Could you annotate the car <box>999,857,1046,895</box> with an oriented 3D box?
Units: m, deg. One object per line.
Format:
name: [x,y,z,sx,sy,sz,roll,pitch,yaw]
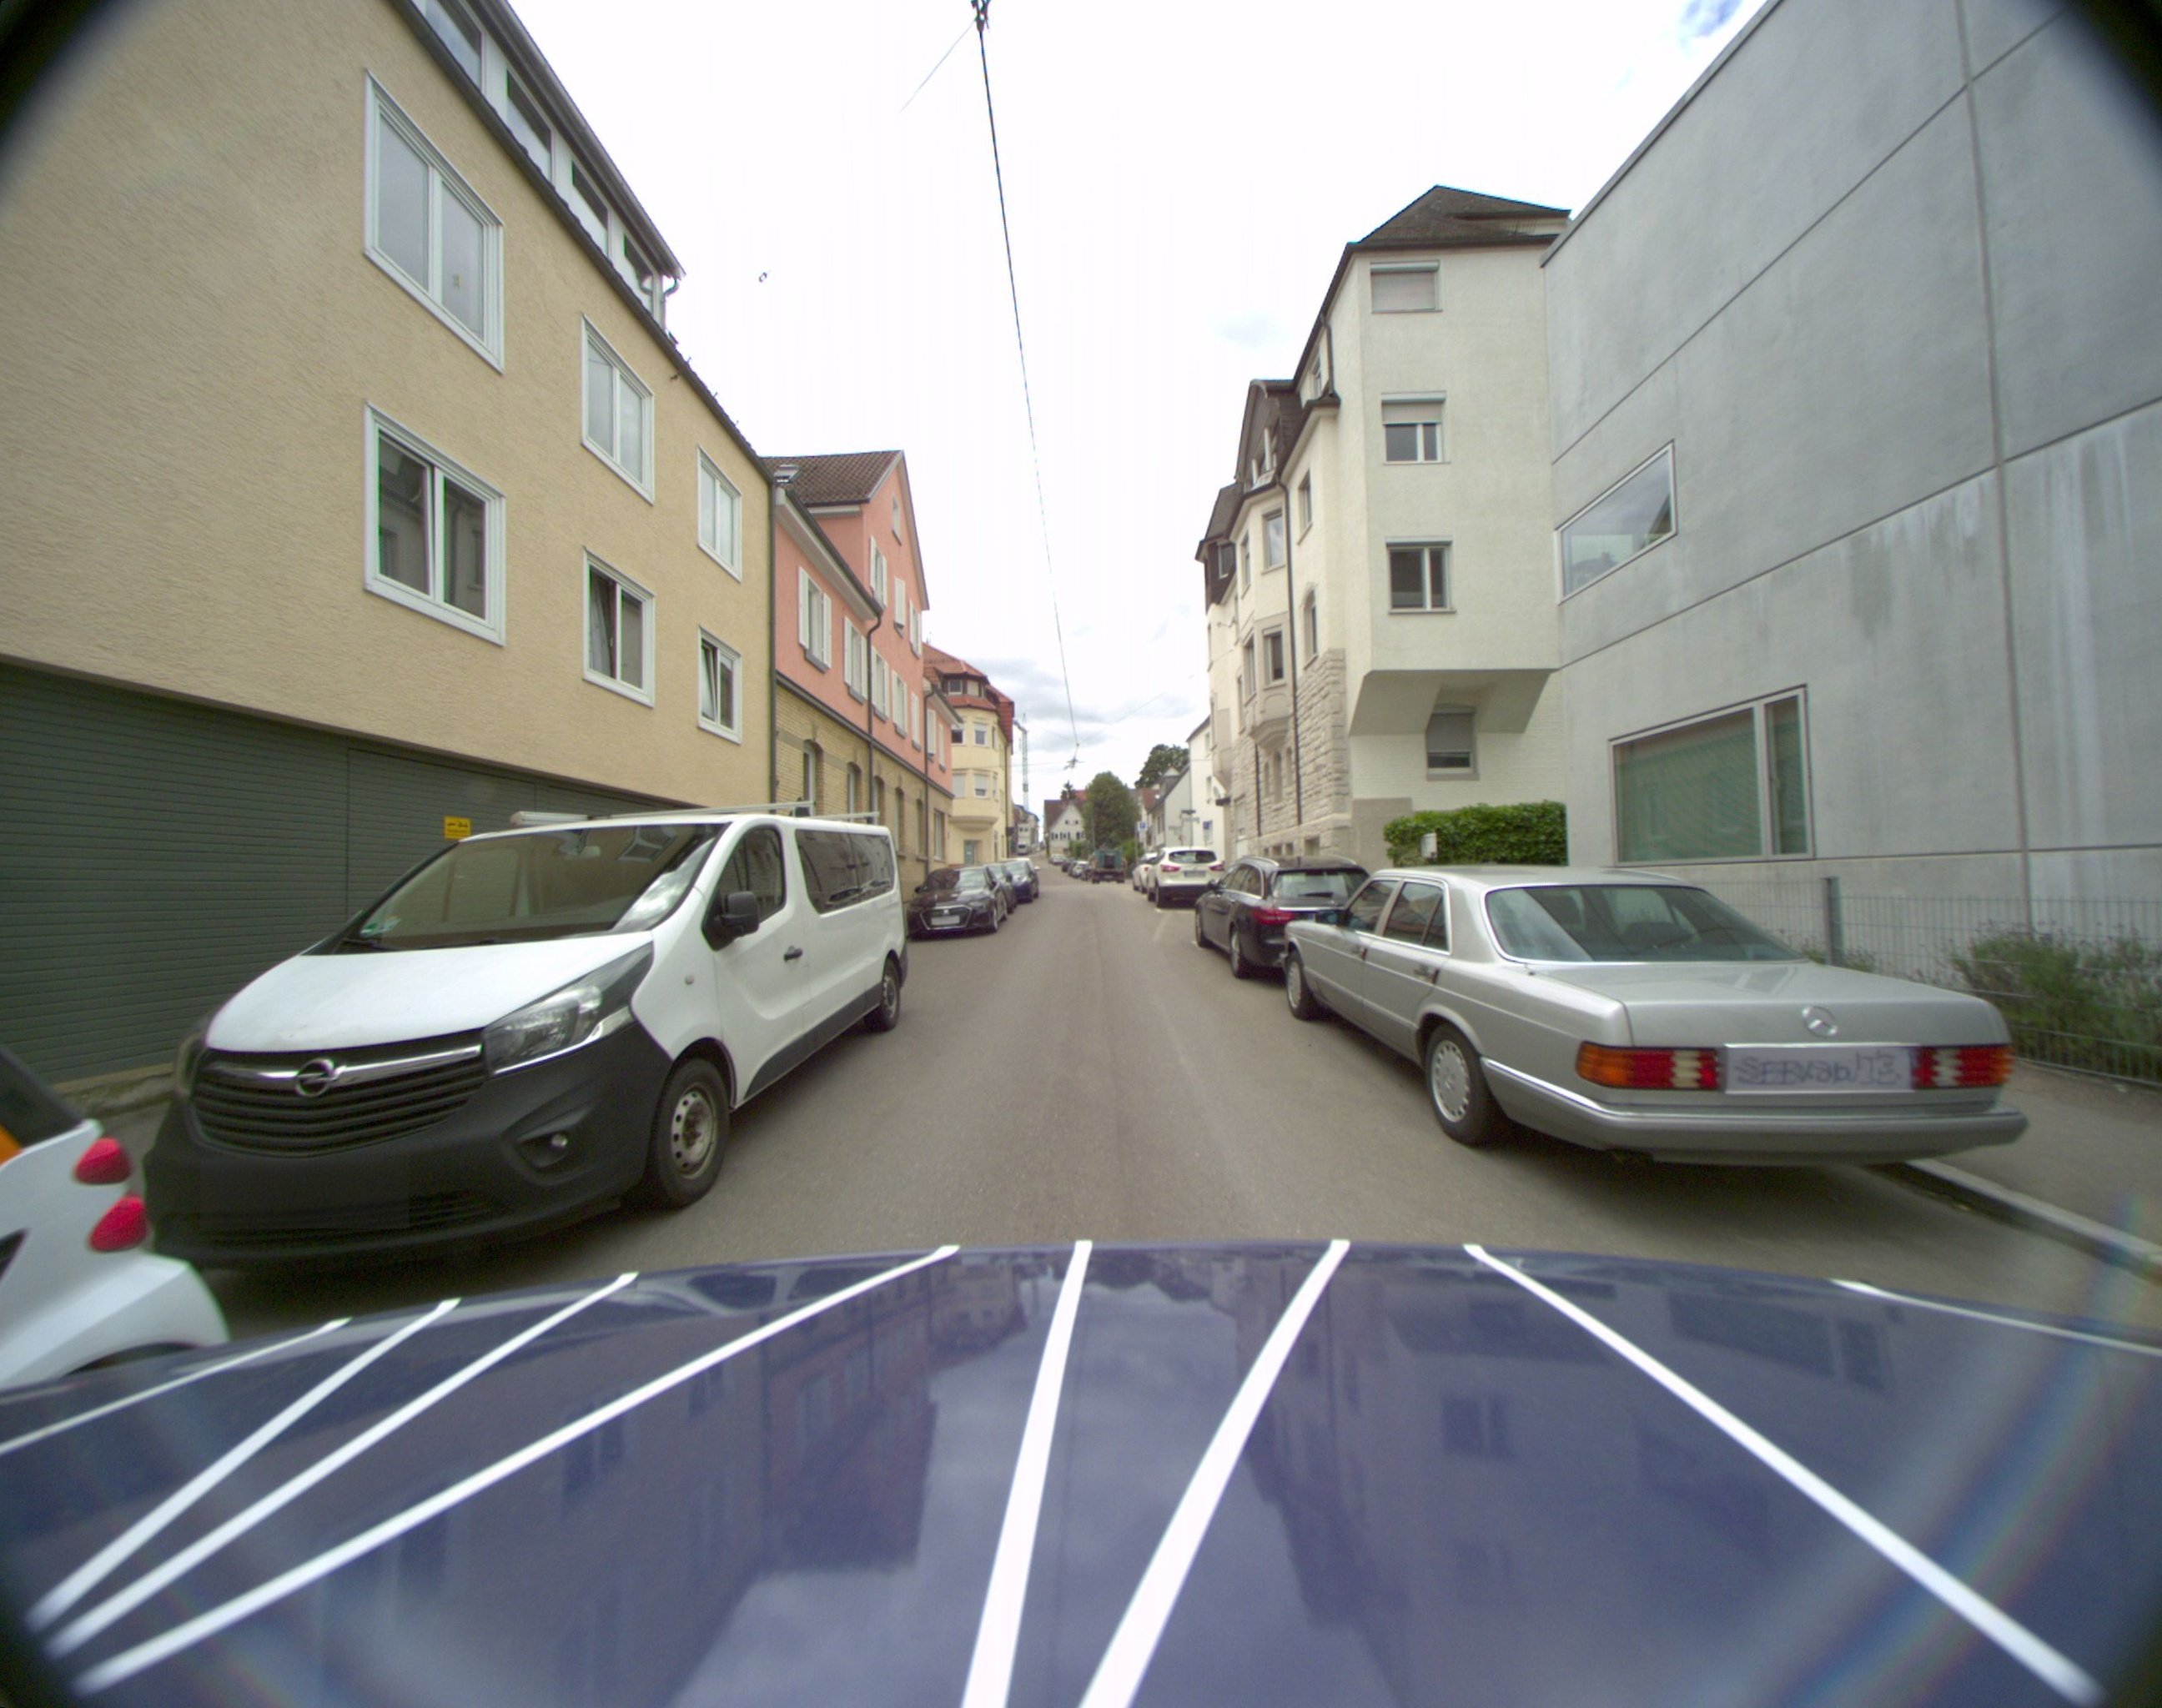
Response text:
car: [-2.398,0.860,31.869,1.672,1.470,3.626,-1,0,0]

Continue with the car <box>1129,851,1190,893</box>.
car: [2.825,0.632,28.139,1.703,1.405,4.240,-1,0,-1]

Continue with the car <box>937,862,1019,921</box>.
car: [-2.764,0.964,21.192,1.857,1.395,3.966,-3,0,-3]

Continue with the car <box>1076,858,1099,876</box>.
car: [0.619,1.219,72.357,1.855,1.640,3.945,0,-1,-4]

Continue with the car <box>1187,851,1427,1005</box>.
car: [2.668,0.764,10.147,1.900,1.518,4.470,-1,1,0]

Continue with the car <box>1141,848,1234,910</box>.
car: [2.806,0.627,20.966,1.850,1.507,4.240,-1,0,-2]

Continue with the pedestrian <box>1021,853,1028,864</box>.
pedestrian: [-7.247,0.592,97.403,0.757,1.480,0.566,-1,0,-19]

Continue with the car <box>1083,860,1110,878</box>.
car: [1.284,1.242,63.502,1.855,1.454,3.945,0,-1,-4]

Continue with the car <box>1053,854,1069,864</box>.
car: [-2.905,0.662,109.158,1.856,1.441,3.943,0,0,-6]

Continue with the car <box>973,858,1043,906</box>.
car: [-2.394,0.894,25.937,1.857,1.395,4.292,-3,0,0]

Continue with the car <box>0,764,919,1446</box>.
car: [-2.732,0.792,5.194,1.910,2.018,5.733,-3,0,0]

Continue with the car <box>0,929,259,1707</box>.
car: [-2.764,1.003,0.416,1.490,1.587,2.791,-3,0,1]

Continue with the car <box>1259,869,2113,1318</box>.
car: [2.733,0.902,5.214,1.849,1.405,5.061,-1,1,1]

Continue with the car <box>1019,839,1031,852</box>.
car: [-11.299,-1.687,153.489,2.194,2.630,5.822,0,1,-6]

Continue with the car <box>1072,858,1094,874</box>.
car: [0.169,1.194,77.127,1.856,1.641,3.943,0,0,-6]

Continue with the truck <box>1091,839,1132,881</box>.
truck: [1.861,0.490,49.160,2.316,2.536,6.289,0,-2,-1]

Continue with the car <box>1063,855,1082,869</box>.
car: [-1.051,0.902,91.076,1.856,1.641,3.943,0,0,-6]

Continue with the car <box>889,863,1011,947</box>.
car: [-2.690,0.993,16.668,1.857,1.395,4.575,-5,0,-1]

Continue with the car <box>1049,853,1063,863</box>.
car: [-3.776,0.555,115.449,1.856,1.441,3.942,0,2,-6]
